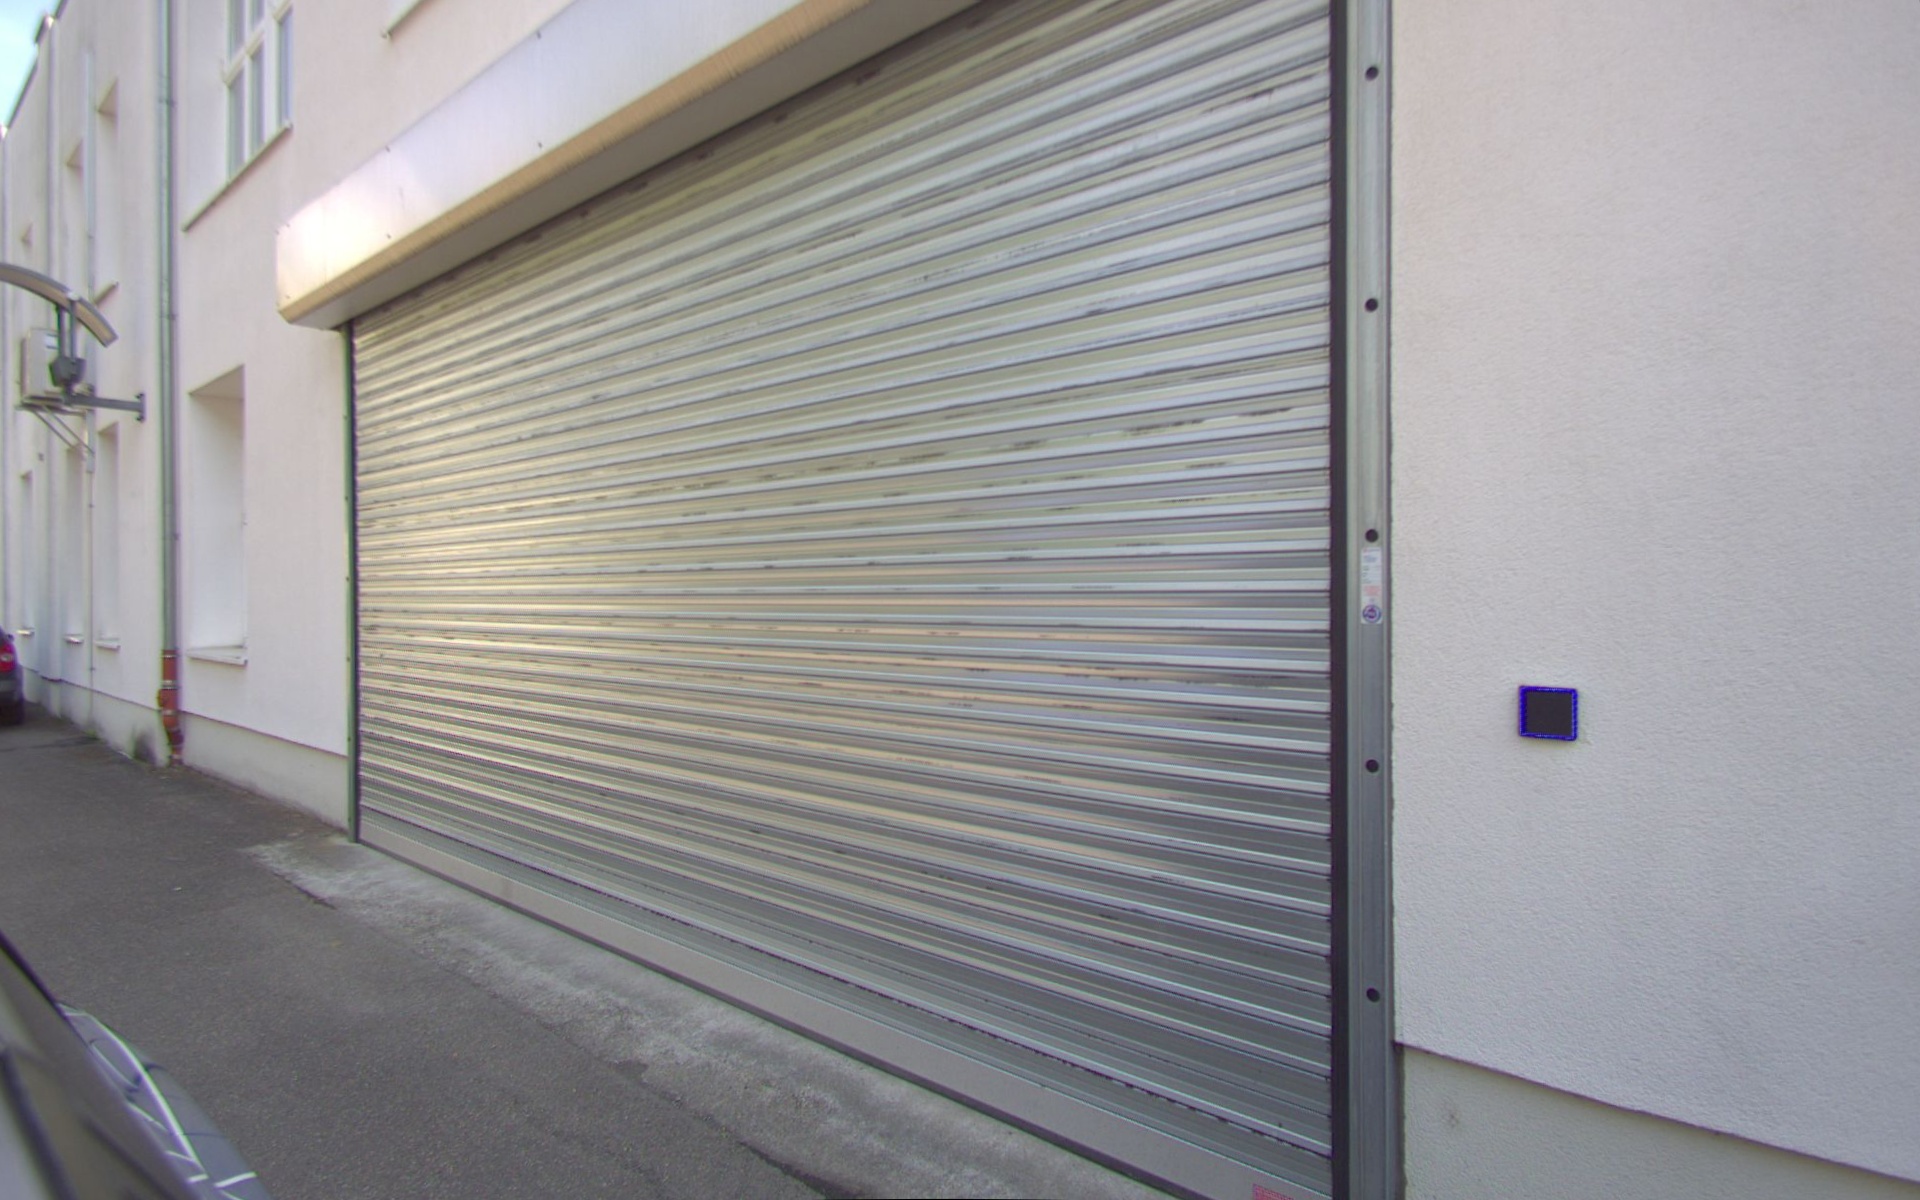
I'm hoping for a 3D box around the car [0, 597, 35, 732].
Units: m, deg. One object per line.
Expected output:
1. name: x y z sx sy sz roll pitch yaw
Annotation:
1. car: -12.854 0.728 12.282 4.427 1.452 1.818 2 4 40
